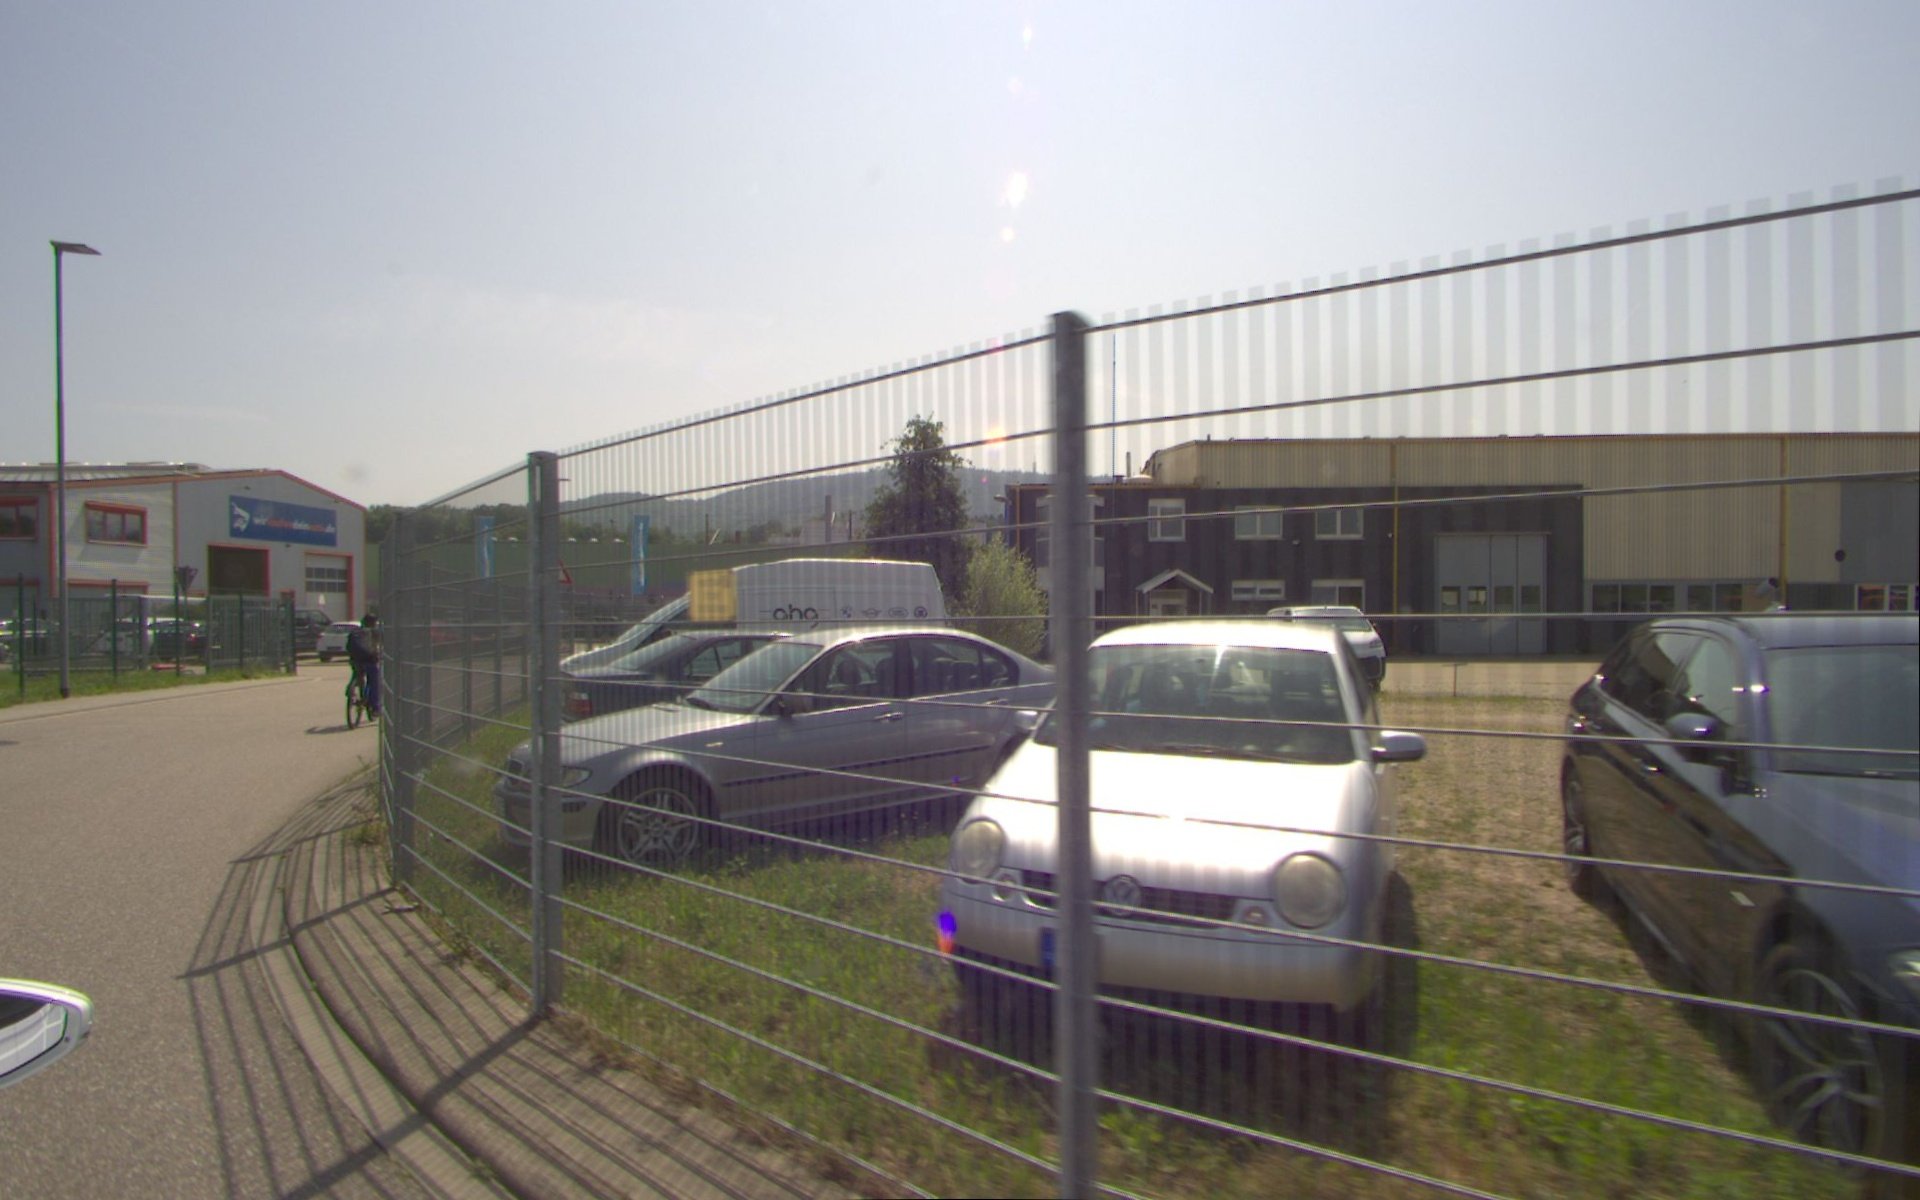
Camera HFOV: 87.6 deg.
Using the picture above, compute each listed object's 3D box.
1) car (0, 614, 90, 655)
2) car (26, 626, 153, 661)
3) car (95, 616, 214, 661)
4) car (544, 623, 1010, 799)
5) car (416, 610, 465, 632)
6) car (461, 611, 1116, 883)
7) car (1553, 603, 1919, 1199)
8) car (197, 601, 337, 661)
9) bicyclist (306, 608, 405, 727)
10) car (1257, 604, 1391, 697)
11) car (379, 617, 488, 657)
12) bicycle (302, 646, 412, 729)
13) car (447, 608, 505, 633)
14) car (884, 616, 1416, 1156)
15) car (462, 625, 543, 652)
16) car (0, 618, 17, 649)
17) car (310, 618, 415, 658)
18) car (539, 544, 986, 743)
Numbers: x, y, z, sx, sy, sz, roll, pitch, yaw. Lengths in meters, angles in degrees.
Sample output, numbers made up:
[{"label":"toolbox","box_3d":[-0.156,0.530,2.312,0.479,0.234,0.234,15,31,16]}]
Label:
[{"label":"car","box_3d":[-34.387,1.233,36.885,1.478,1.399,3.603,0,0,2]},{"label":"car","box_3d":[-32.190,1.582,37.157,1.478,1.166,3.603,0,0,2]},{"label":"car","box_3d":[-29.969,1.389,37.387,1.478,1.560,3.603,0,0,2]},{"label":"car","box_3d":[-1.716,0.925,9.625,4.142,1.375,1.610,0,0,-26]},{"label":"car","box_3d":[-41.543,1.647,80.094,1.671,1.679,4.000,0,0,3]},{"label":"car","box_3d":[-1.040,0.789,7.070,4.300,1.413,1.606,1,-1,-34]},{"label":"car","box_3d":[3.423,0.774,3.403,1.794,1.493,4.540,0,-1,23]},{"label":"car","box_3d":[-25.425,1.090,36.941,1.919,2.057,4.517,0,0,2]},{"label":"bicyclist","box_3d":[-8.675,0.955,14.417,0.829,1.639,1.039,1,-1,-7]},{"label":"car","box_3d":[8.280,1.071,23.270,1.822,1.924,5.076,0,-1,7]},{"label":"car","box_3d":[-19.821,1.352,37.925,1.839,1.405,4.113,0,0,2]},{"label":"bicycle","box_3d":[-8.710,1.236,14.563,0.674,1.065,1.900,1,-1,-9]},{"label":"car","box_3d":[-32.299,1.358,66.929,1.961,1.602,4.000,0,0,0]},{"label":"car","box_3d":[1.151,0.801,4.610,1.609,1.441,3.466,0,-1,23]},{"label":"car","box_3d":[-19.398,1.607,42.621,1.459,1.020,4.113,0,0,2]},{"label":"car","box_3d":[-37.592,1.279,37.291,1.478,1.166,3.603,0,0,2]},{"label":"car","box_3d":[-22.473,1.396,37.826,1.717,1.423,3.603,0,0,2]},{"label":"car","box_3d":[-2.450,0.504,12.762,5.251,2.177,1.902,0,0,-19]}]
